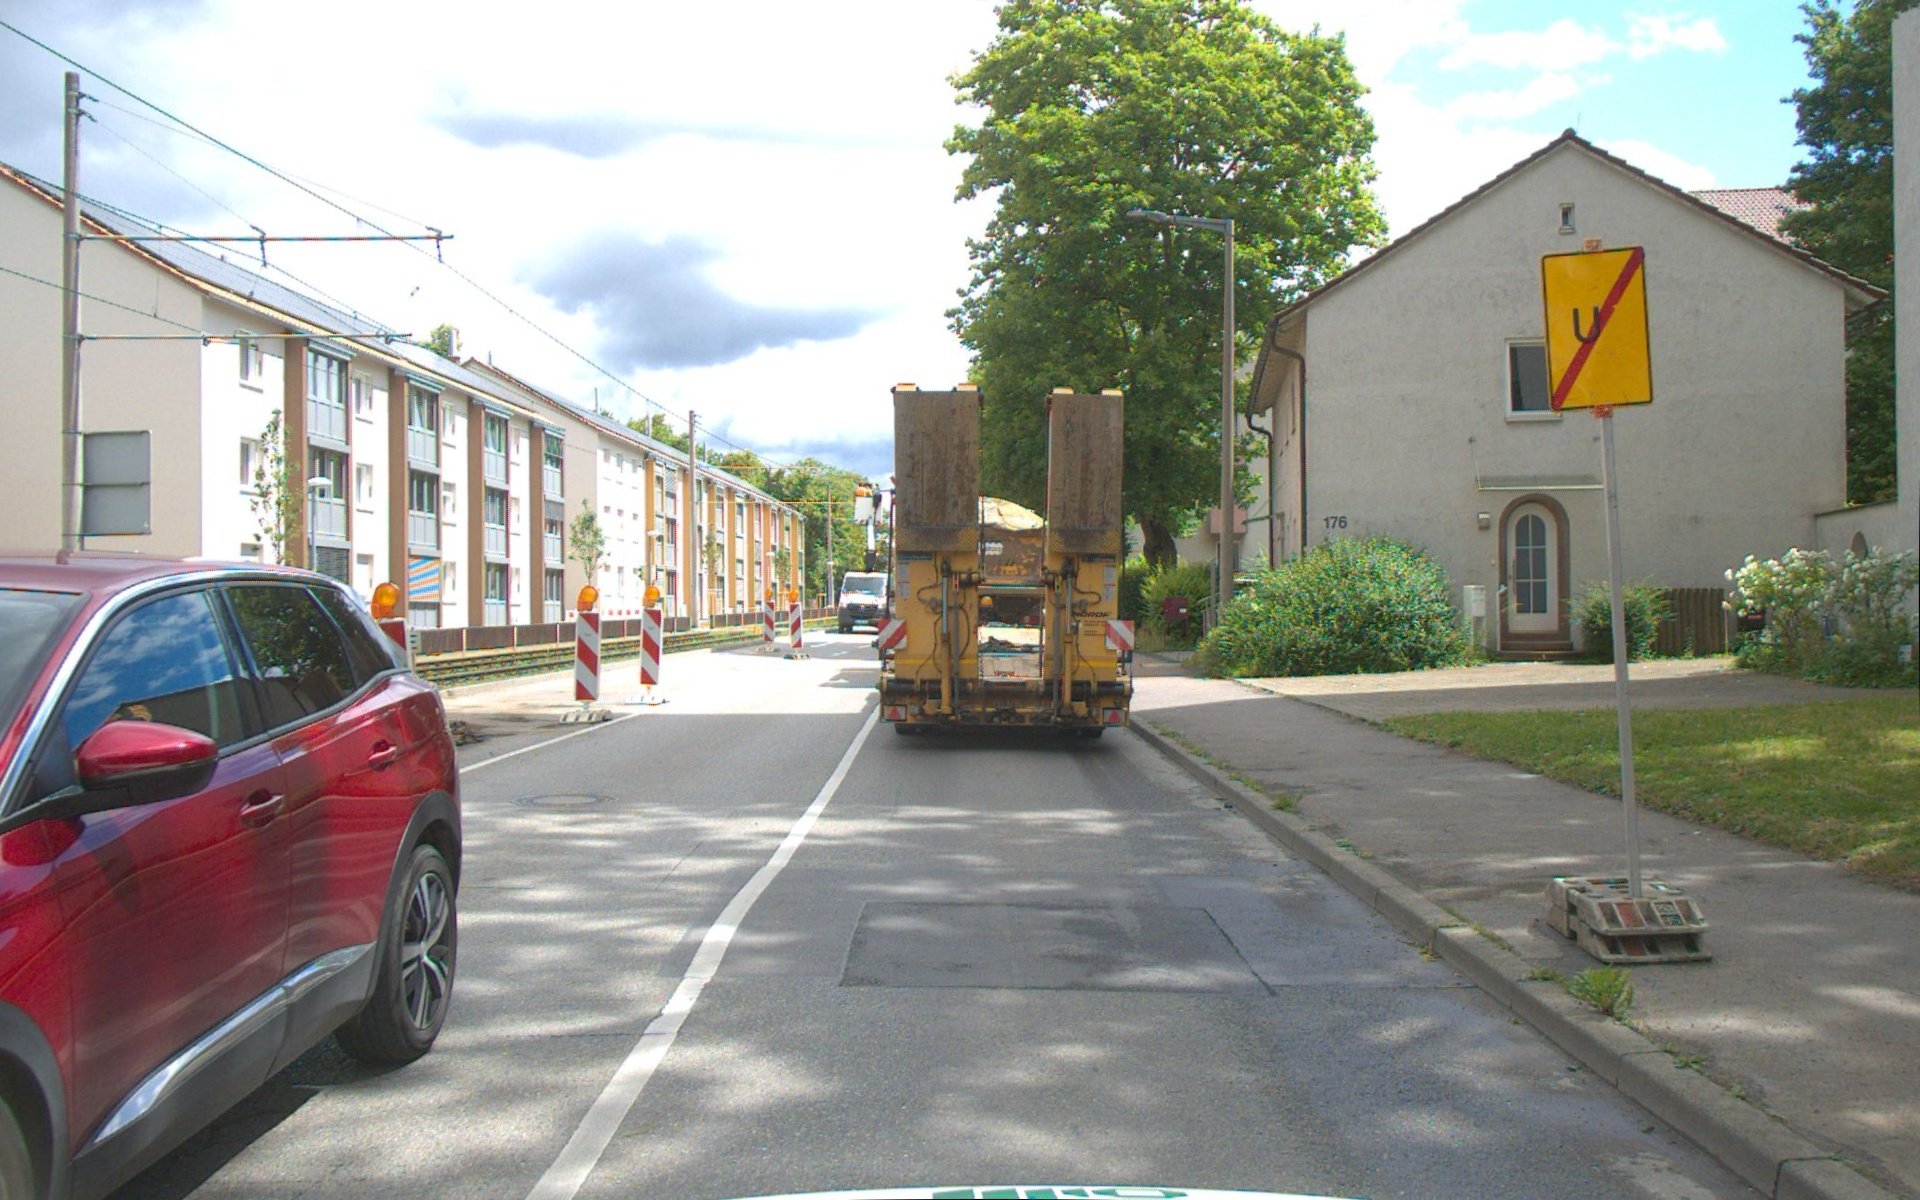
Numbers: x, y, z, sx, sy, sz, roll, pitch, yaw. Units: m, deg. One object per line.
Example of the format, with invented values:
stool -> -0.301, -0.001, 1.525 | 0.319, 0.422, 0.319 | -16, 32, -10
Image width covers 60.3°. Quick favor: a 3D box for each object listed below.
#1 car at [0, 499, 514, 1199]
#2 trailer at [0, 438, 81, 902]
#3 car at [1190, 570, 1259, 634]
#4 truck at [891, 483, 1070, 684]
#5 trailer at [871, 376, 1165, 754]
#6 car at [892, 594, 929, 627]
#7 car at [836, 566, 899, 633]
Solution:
car -> -2.552, 0.658, 4.010 | 1.805, 1.646, 4.241 | 0, 0, 0
trailer -> -5.932, 0.324, 5.586 | 2.608, 2.252, 6.247 | 1, 0, -1
car -> 7.336, 0.067, 46.048 | 1.773, 1.678, 4.003 | -1, 0, 9
truck -> 0.234, -0.272, 30.834 | 2.858, 3.222, 7.677 | 1, 0, -2
trailer -> 0.444, -0.343, 21.473 | 2.765, 3.585, 11.049 | 1, 0, -1
car -> -2.444, 0.508, 82.746 | 1.683, 1.579, 3.917 | 1, 0, 0
car -> -3.602, -0.017, 65.240 | 1.952, 2.473, 6.323 | 1, 0, 1
